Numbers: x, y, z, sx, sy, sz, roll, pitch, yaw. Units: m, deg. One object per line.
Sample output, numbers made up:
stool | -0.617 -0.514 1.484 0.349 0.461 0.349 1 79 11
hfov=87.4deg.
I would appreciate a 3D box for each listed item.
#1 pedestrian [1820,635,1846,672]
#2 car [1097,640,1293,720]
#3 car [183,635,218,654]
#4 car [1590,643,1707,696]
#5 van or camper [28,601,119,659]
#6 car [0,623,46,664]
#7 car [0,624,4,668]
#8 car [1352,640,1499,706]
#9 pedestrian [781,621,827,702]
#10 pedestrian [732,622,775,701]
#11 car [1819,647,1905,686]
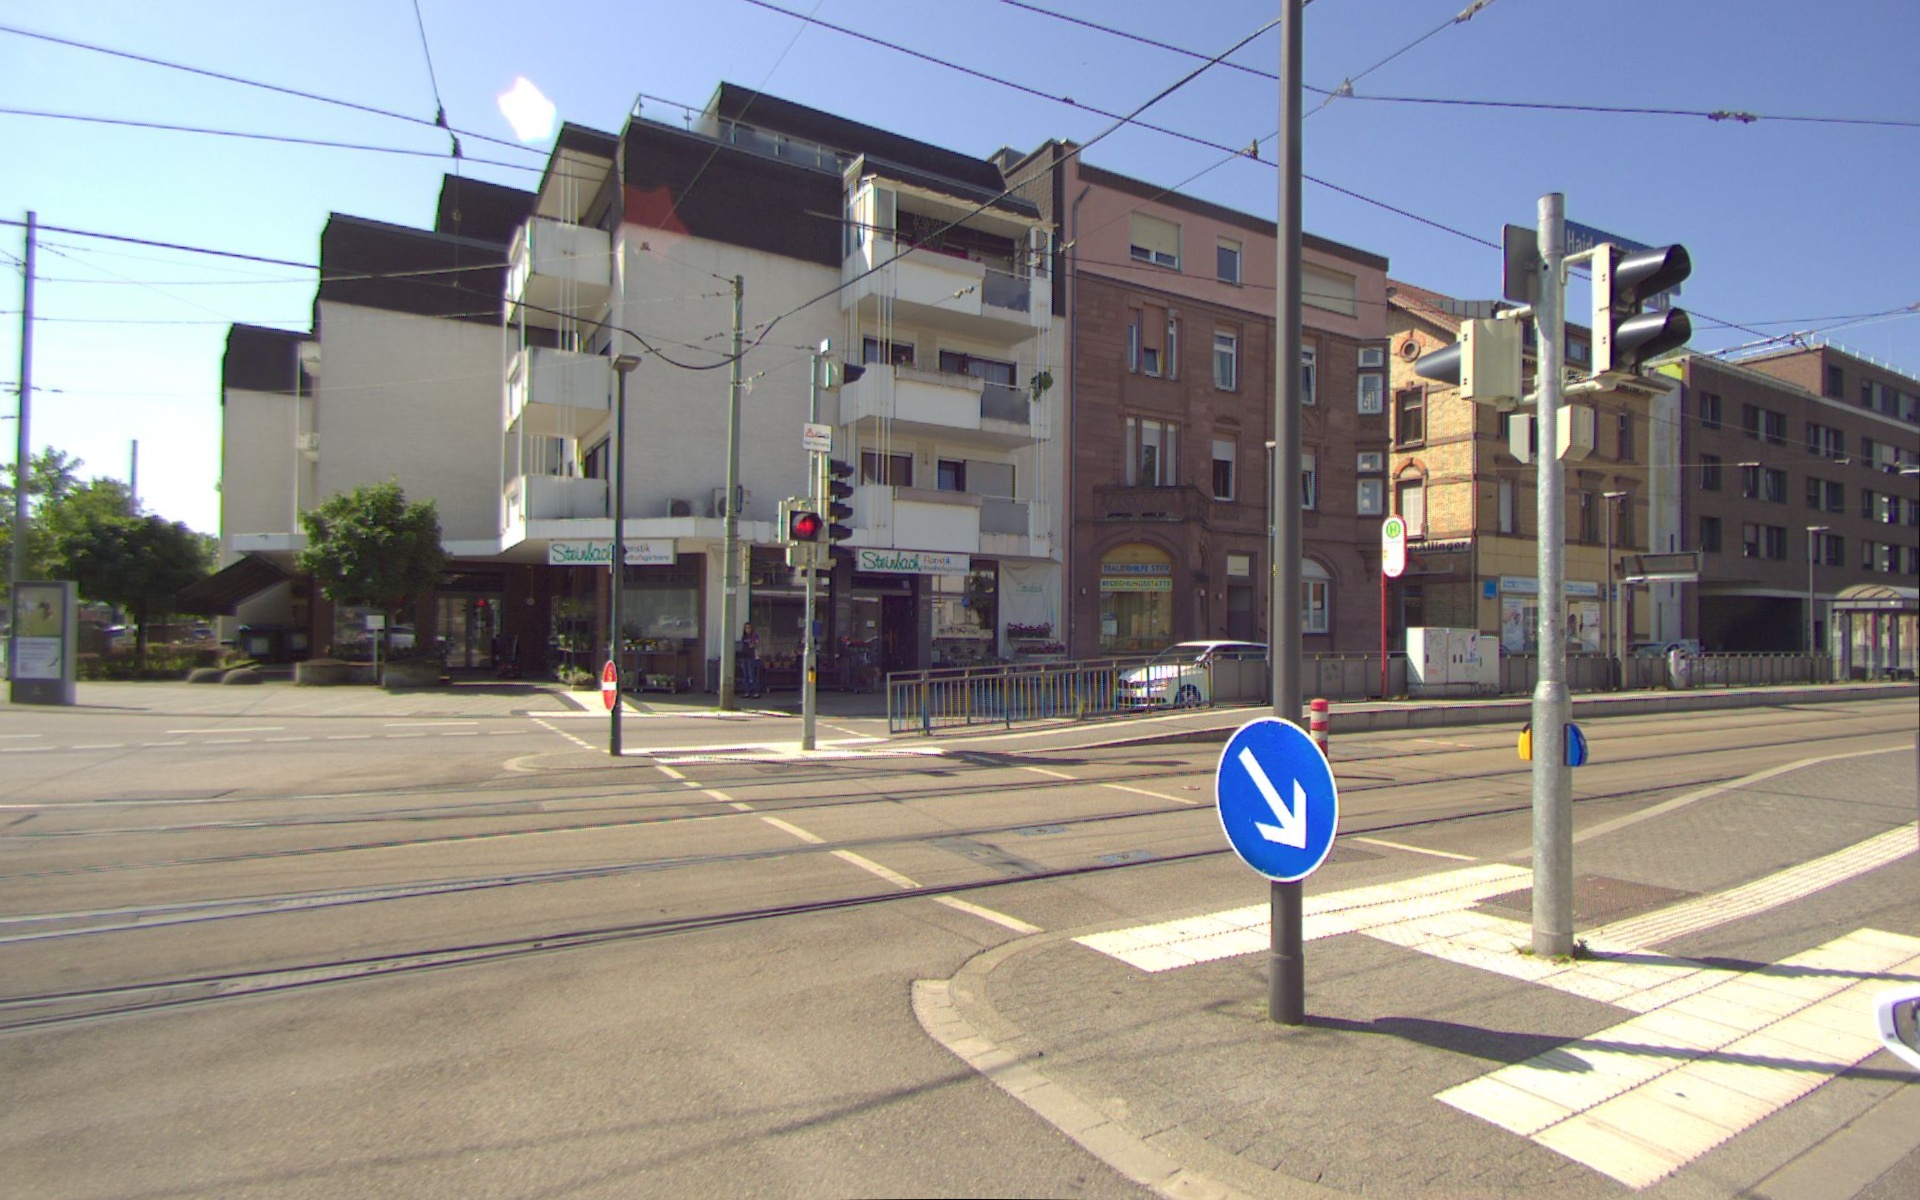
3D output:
pedestrian | 44.108 2.697 50.748 0.953 1.814 0.721 1 -2 -31
car | 4.834 1.581 20.497 3.920 1.450 1.616 2 -1 -33
car | -61.914 3.627 81.896 1.807 1.520 3.967 2 -2 -31
car | 20.759 2.059 30.262 3.697 1.478 1.564 2 -2 -32
van or camper | -42.385 1.455 48.157 2.349 2.659 4.850 2 -2 -31
car | -36.607 1.645 38.270 1.807 1.520 3.967 2 -2 -31
car | -33.285 1.530 32.972 1.807 1.520 4.152 2 -2 -31
car | 11.408 1.741 24.567 3.775 1.478 1.563 2 -2 -34
pedestrian | -3.294 1.284 21.210 0.673 1.669 0.874 1 -2 -30
pedestrian | -4.488 1.329 21.831 0.724 1.669 0.675 1 -2 -31
car | 36.300 2.642 40.396 3.892 1.478 1.564 2 -2 -32
